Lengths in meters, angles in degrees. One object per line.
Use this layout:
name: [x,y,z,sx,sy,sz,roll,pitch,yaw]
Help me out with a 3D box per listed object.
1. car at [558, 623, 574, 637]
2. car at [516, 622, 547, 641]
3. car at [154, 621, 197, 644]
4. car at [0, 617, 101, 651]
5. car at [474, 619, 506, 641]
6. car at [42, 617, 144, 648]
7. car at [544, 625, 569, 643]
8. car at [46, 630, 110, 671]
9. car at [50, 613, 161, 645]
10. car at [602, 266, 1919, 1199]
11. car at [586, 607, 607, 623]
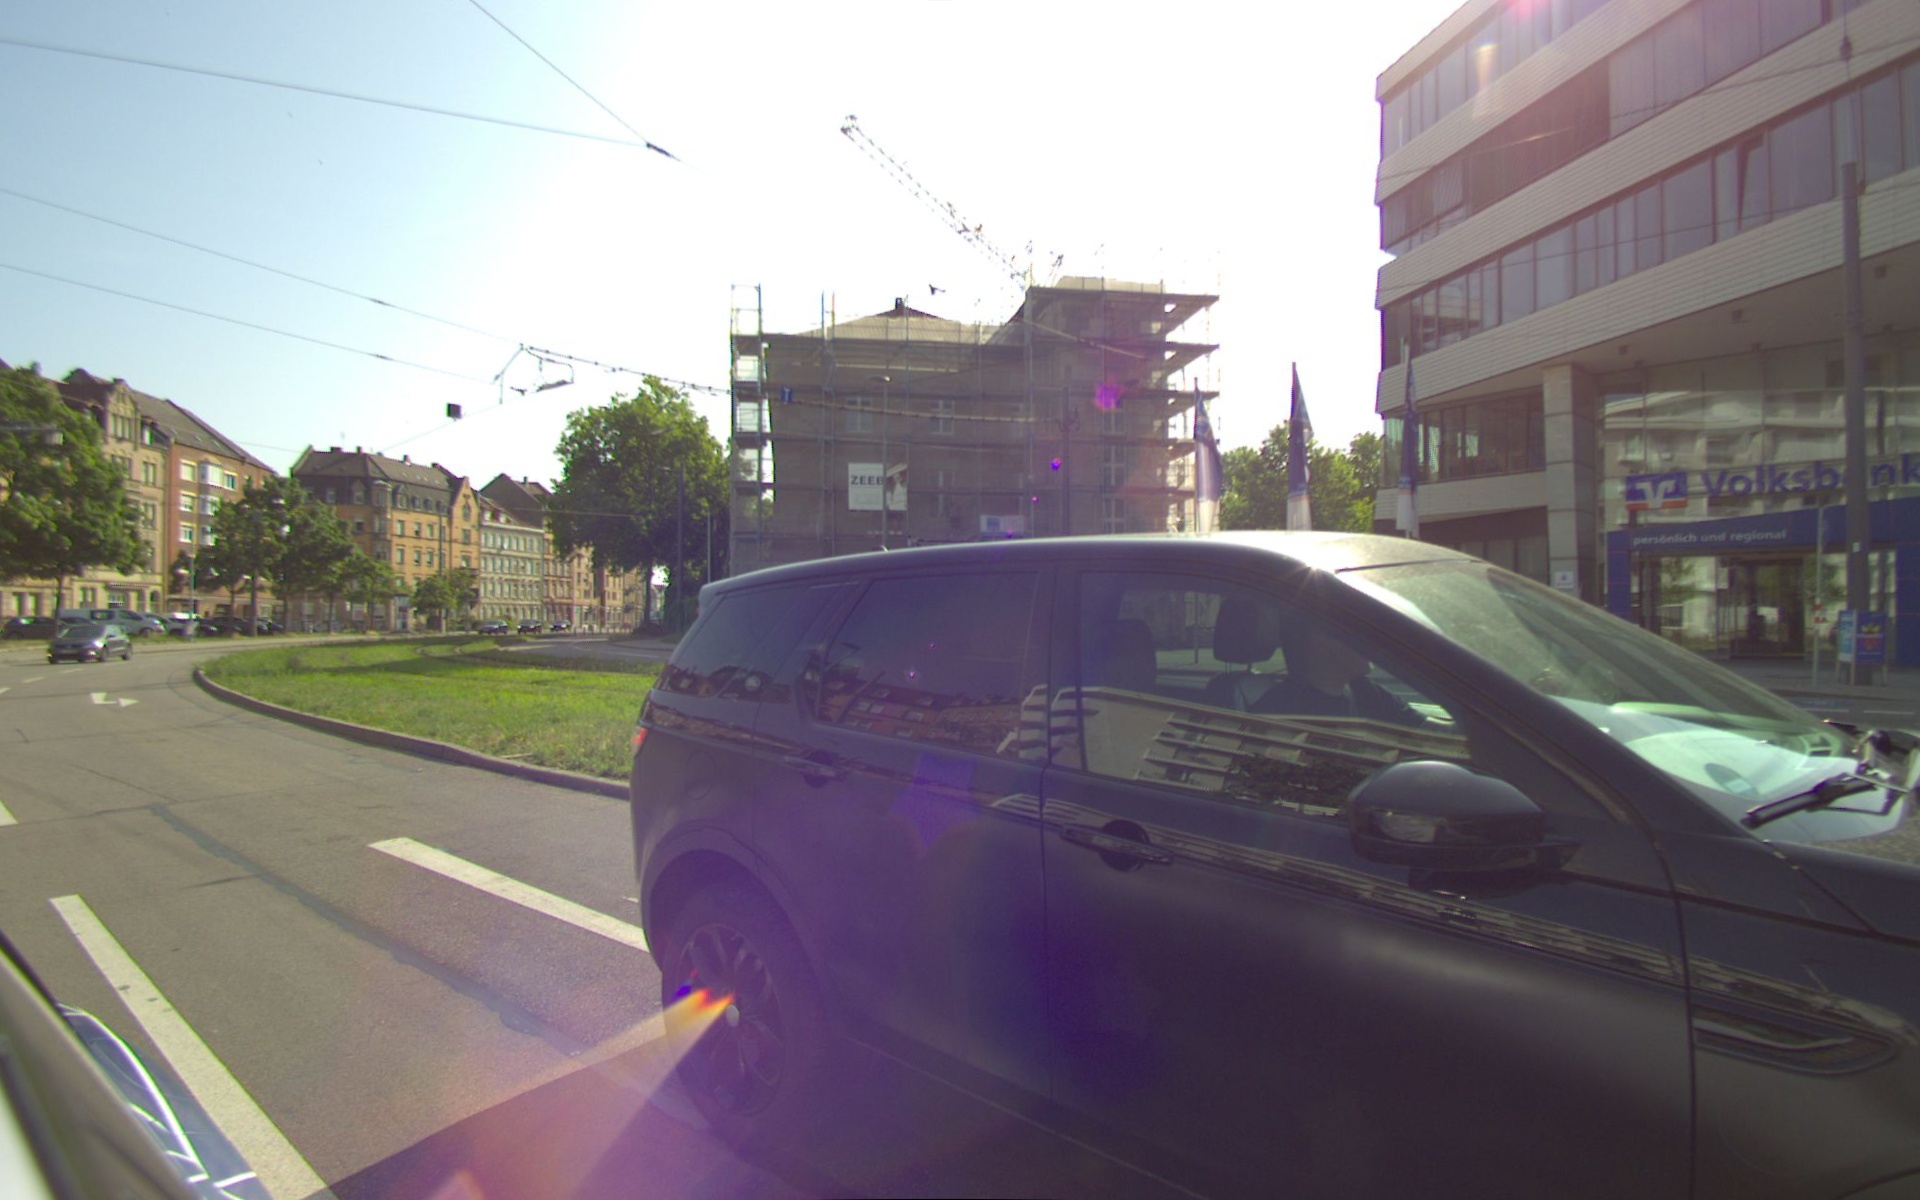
car: [-50.226,3.791,129.010,1.575,1.632,3.563,-1,0,-15]
car: [-42.377,3.087,100.165,1.968,1.874,4.007,0,-2,-8]
car: [-63.067,2.606,81.398,1.311,1.745,2.785,0,-2,-1]
car: [-50.337,1.883,55.615,4.662,1.779,1.725,3,-3,-38]
car: [-46.370,2.918,99.913,1.967,2.029,4.010,-1,0,-13]
car: [-50.624,1.921,59.173,1.722,1.779,4.355,-2,-3,44]
car: [-48.103,4.027,120.654,1.967,2.029,4.008,0,-1,-10]
car: [-33.278,1.868,38.263,1.618,1.430,3.903,1,-1,-38]
car: [-51.890,1.780,61.551,1.720,1.852,4.861,-1,-3,40]
car: [1.056,0.503,2.376,4.220,1.690,1.778,-2,-3,42]
car: [-46.532,1.948,129.547,1.967,1.993,4.010,-1,0,-13]
